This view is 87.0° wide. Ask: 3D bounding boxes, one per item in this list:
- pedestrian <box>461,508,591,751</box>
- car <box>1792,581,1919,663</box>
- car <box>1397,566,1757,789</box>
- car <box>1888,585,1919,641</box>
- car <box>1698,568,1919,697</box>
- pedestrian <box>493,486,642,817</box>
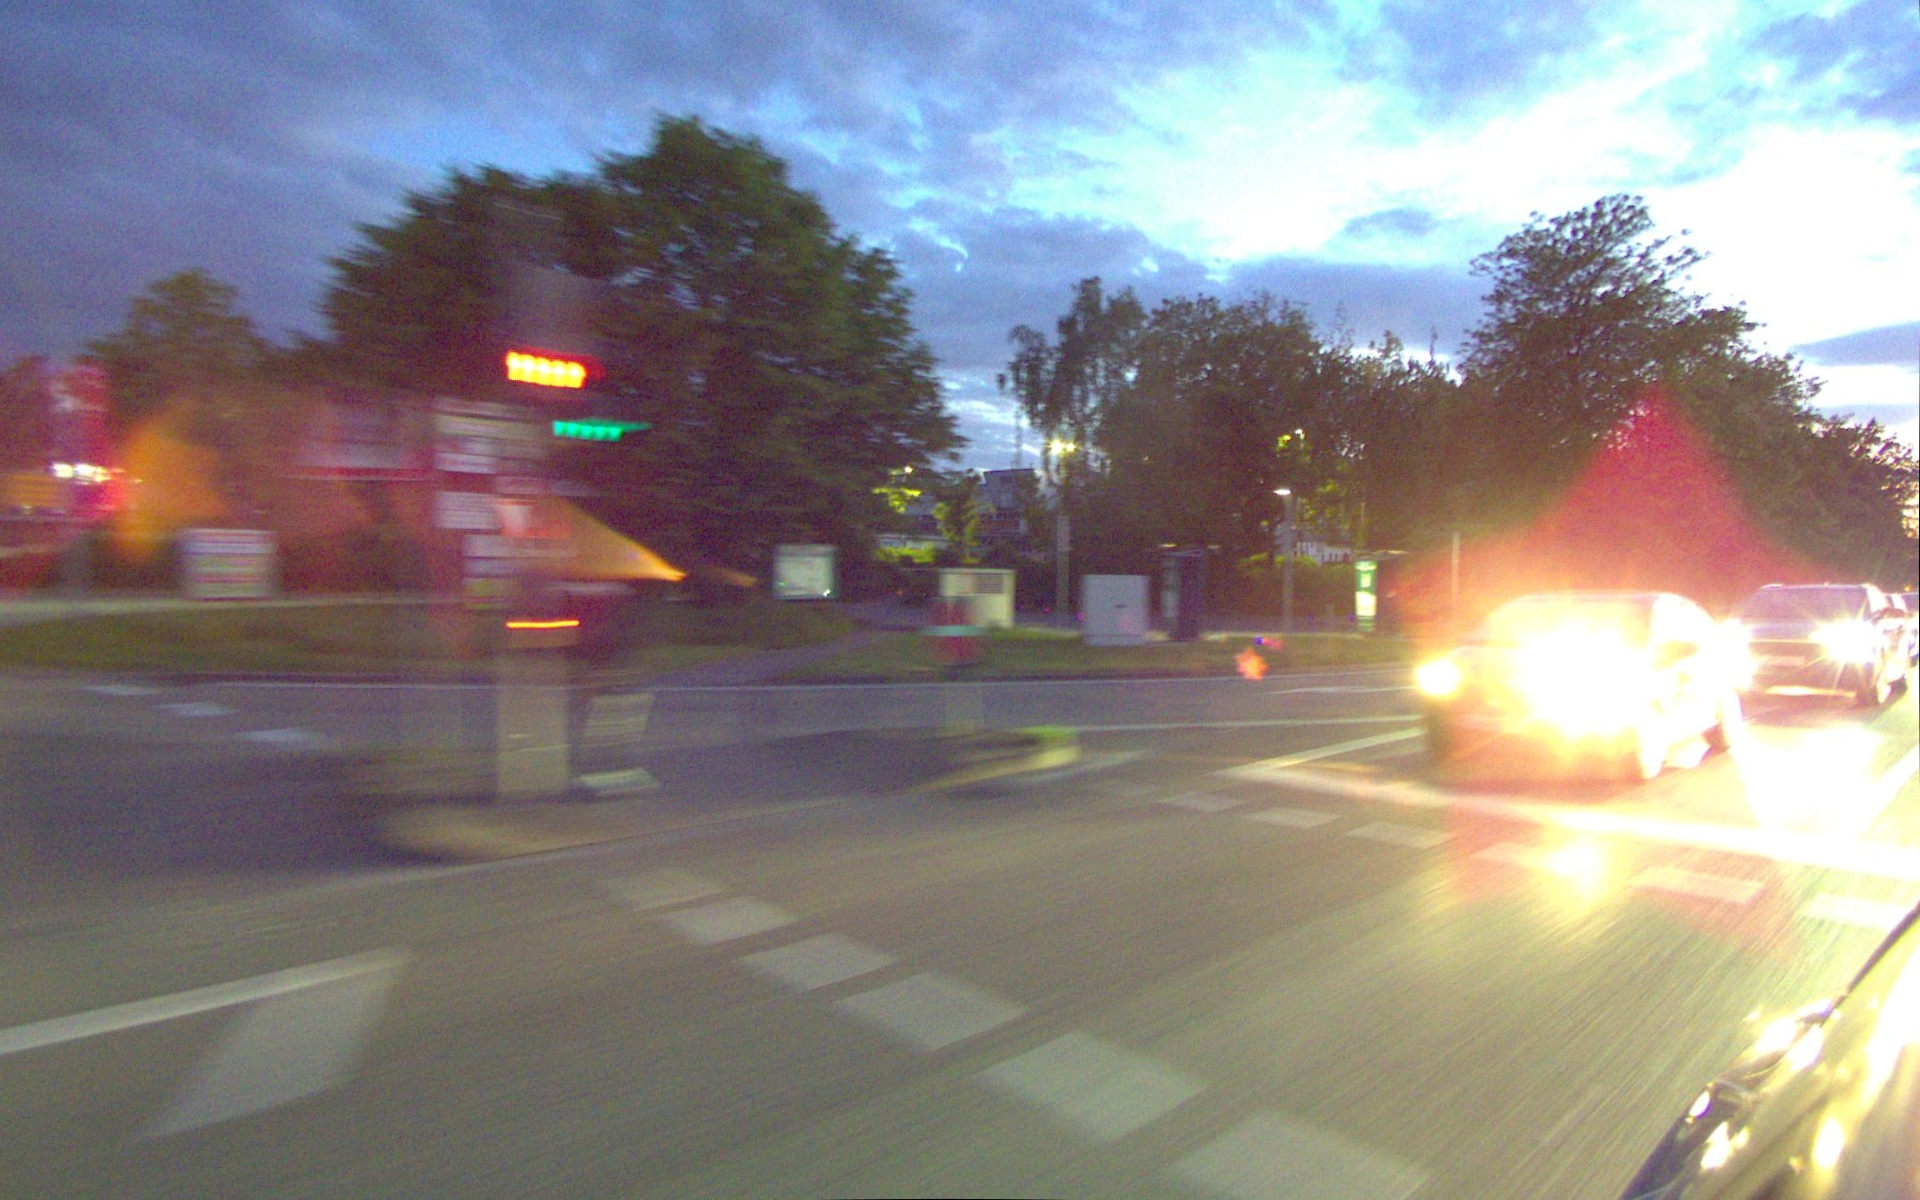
[{"bbox_3d":[-3.813,0.248,8.935,0.768,2.039,0.712,-1,0,11],"label":"pedestrian"},{"bbox_3d":[17.534,0.381,19.560,3.689,1.431,1.620,0,0,-41],"label":"car"},{"bbox_3d":[5.505,0.540,8.876,3.649,1.556,1.662,0,0,-41],"label":"car"},{"bbox_3d":[26.068,0.307,26.797,3.931,1.385,1.817,-1,0,-42],"label":"car"},{"bbox_3d":[12.360,0.421,14.530,4.225,1.577,1.900,0,-1,-41],"label":"car"},{"bbox_3d":[-2.628,0.311,6.768,0.701,2.039,0.779,-1,0,-40],"label":"pedestrian"}]
